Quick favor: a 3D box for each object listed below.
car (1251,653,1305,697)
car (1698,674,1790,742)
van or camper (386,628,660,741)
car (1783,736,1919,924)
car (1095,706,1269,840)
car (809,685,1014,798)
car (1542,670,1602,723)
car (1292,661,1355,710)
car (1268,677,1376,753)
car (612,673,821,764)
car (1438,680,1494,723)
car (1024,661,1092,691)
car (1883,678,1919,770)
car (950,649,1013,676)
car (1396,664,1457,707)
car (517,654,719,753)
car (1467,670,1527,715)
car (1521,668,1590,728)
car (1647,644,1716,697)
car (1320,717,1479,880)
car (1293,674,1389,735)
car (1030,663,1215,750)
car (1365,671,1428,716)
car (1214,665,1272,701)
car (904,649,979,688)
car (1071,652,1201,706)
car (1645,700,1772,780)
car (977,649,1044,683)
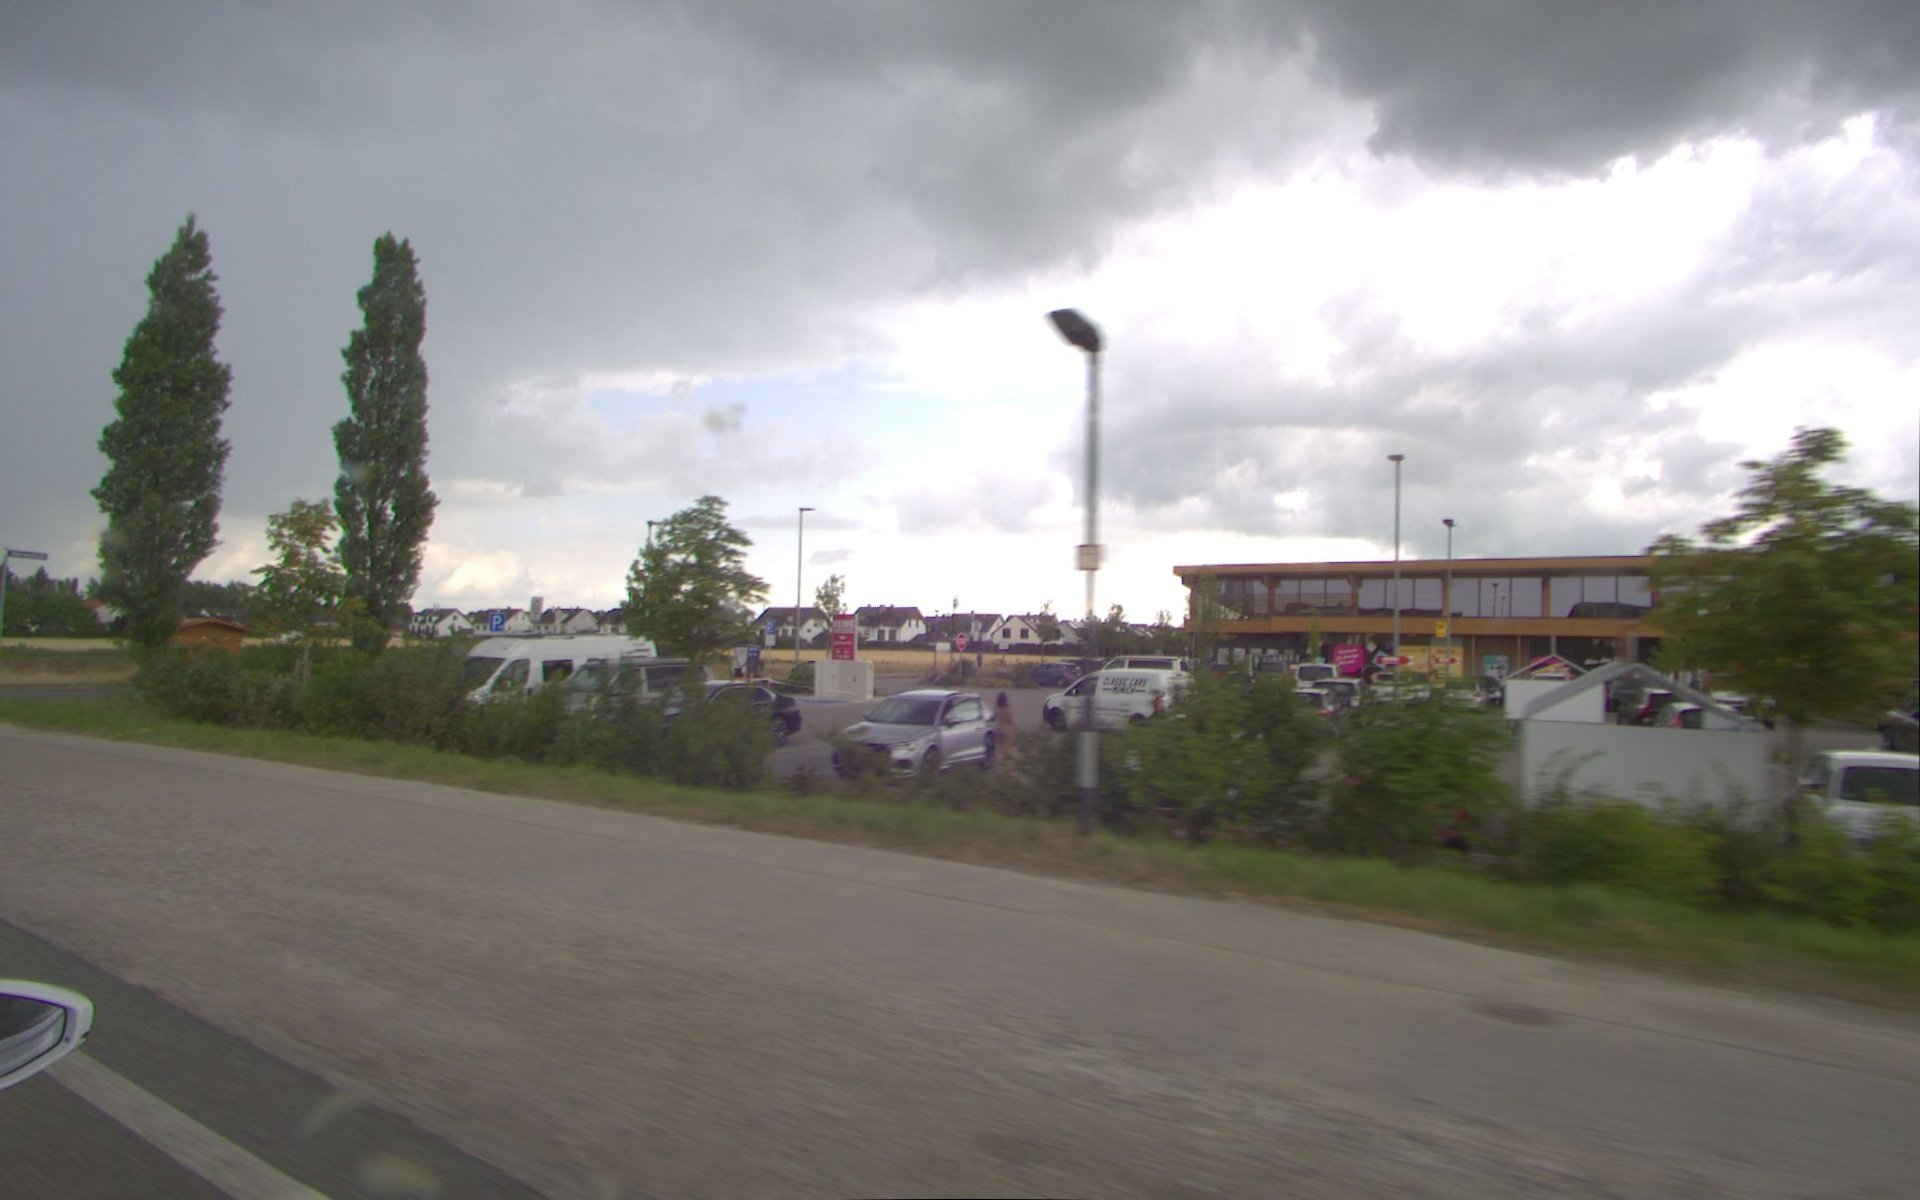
[{"bbox_3d":[16.653,3.880,52.364,1.823,2.036,4.213,0,-1,30],"label":"car"},{"bbox_3d":[28.497,3.846,36.547,1.970,2.040,5.122,0,-1,30],"label":"car"},{"bbox_3d":[-11.020,2.002,25.951,2.247,2.496,6.460,0,-1,29],"label":"van or camper"},{"bbox_3d":[11.196,2.618,11.827,1.651,1.558,3.752,0,-1,30],"label":"car"},{"bbox_3d":[3.803,2.716,16.609,1.651,1.558,4.142,0,-1,30],"label":"car"},{"bbox_3d":[-0.811,2.603,19.349,2.049,1.618,4.142,0,-1,30],"label":"car"},{"bbox_3d":[27.110,4.202,44.296,1.974,2.040,3.975,0,-1,36],"label":"car"},{"bbox_3d":[16.306,3.775,44.803,2.008,1.936,3.888,0,-1,30],"label":"car"},{"bbox_3d":[9.886,3.037,27.202,1.971,1.639,3.980,0,-1,32],"label":"car"},{"bbox_3d":[-5.500,2.647,23.404,1.732,1.618,5.090,0,-1,30],"label":"car"},{"bbox_3d":[21.196,4.201,41.908,1.767,1.496,3.731,0,-1,32],"label":"car"},{"bbox_3d":[5.691,4.374,58.054,3.527,1.527,1.742,0,-1,32],"label":"car"},{"bbox_3d":[24.957,3.122,25.276,1.974,2.040,3.975,0,-1,36],"label":"car"},{"bbox_3d":[1.341,3.879,62.450,3.527,1.527,1.742,0,-1,32],"label":"car"},{"bbox_3d":[22.229,4.010,47.640,1.920,1.772,3.975,0,-1,36],"label":"car"},{"bbox_3d":[-8.305,2.441,24.747,1.970,2.040,4.588,0,-1,30],"label":"car"},{"bbox_3d":[24.726,4.202,46.052,1.920,1.772,3.975,0,-1,36],"label":"car"},{"bbox_3d":[23.679,3.833,39.758,1.974,2.040,3.975,0,-1,36],"label":"car"},{"bbox_3d":[31.599,3.025,43.974,1.970,2.040,5.122,0,-1,30],"label":"car"},{"bbox_3d":[6.268,2.623,14.065,1.651,1.558,3.752,0,-1,30],"label":"car"},{"bbox_3d":[12.577,3.361,32.950,1.974,1.639,3.975,0,-1,36],"label":"car"},{"bbox_3d":[4.352,2.807,27.483,2.086,1.931,4.903,1,-1,-39],"label":"car"},{"bbox_3d":[18.988,4.009,43.455,2.009,1.628,3.731,0,-1,32],"label":"car"},{"bbox_3d":[13.071,3.798,46.137,1.748,1.400,3.457,0,-1,30],"label":"car"},{"bbox_3d":[-1.098,3.972,58.524,3.942,2.040,1.990,0,-1,32],"label":"car"},{"bbox_3d":[7.438,3.277,42.400,5.142,2.040,1.996,0,-1,21],"label":"car"},{"bbox_3d":[17.298,3.177,23.330,1.971,1.460,3.984,0,-3,31],"label":"car"},{"bbox_3d":[3.331,4.315,66.212,3.942,2.040,1.990,0,-1,32],"label":"car"}]
